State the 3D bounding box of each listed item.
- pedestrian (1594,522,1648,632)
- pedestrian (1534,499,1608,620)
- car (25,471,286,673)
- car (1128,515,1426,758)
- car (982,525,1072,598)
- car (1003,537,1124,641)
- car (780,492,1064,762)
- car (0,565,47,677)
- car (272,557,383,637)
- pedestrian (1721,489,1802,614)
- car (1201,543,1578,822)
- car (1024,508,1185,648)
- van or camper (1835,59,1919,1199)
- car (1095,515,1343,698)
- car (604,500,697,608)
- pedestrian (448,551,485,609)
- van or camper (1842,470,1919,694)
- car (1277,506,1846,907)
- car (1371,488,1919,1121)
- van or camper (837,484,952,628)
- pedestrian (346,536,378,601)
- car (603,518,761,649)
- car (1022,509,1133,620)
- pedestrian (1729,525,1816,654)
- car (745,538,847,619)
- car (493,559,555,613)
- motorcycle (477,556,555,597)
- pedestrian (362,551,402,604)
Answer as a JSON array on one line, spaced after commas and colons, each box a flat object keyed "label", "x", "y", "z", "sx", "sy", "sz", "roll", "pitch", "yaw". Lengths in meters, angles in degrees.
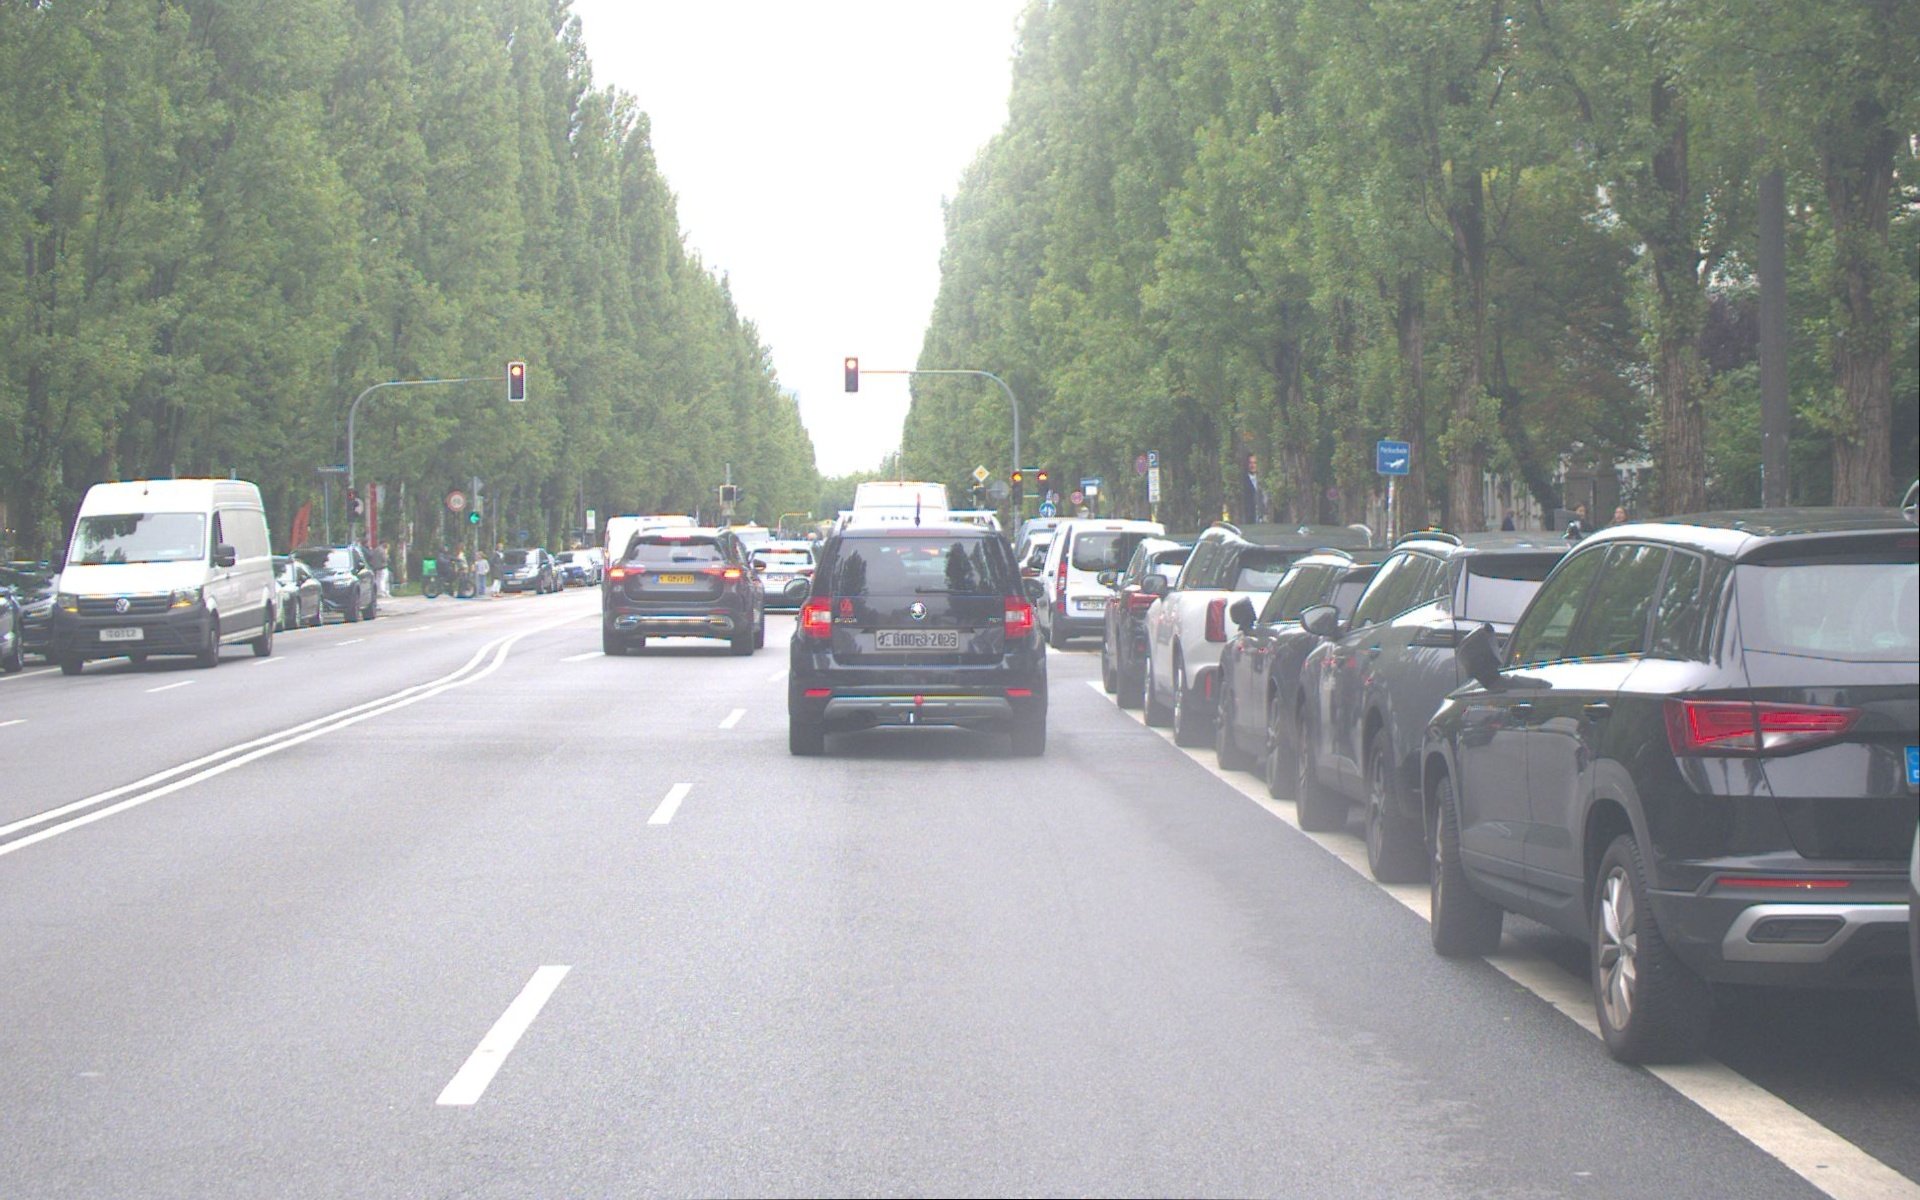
[{"label": "pedestrian", "x": 9.590, "y": -0.340, "z": 49.905, "sx": 0.567, "sy": 1.573, "sz": 0.867, "roll": -1, "pitch": 1, "yaw": -1}, {"label": "pedestrian", "x": 8.840, "y": -0.586, "z": 49.755, "sx": 0.853, "sy": 1.711, "sz": 0.867, "roll": -2, "pitch": 1, "yaw": -1}, {"label": "car", "x": -10.947, "y": -0.411, "z": 47.320, "sx": 2.227, "sy": 2.475, "sz": 6.759, "roll": -3, "pitch": 1, "yaw": -3}, {"label": "car", "x": 2.324, "y": 0.208, "z": 26.288, "sx": 1.742, "sy": 1.670, "sz": 4.580, "roll": -1, "pitch": 1, "yaw": -1}, {"label": "car", "x": 1.395, "y": -0.830, "z": 72.401, "sx": 1.735, "sy": 1.470, "sz": 3.563, "roll": -1, "pitch": 1, "yaw": -1}, {"label": "car", "x": 1.643, "y": -0.205, "z": 55.759, "sx": 1.741, "sy": 1.587, "sz": 4.212, "roll": -1, "pitch": 1, "yaw": -1}, {"label": "car", "x": -0.287, "y": 0.150, "z": 24.924, "sx": 1.855, "sy": 1.764, "sz": 4.000, "roll": 1, "pitch": 1, "yaw": -1}, {"label": "car", "x": -13.350, "y": 0.317, "z": 45.371, "sx": 1.709, "sy": 1.446, "sz": 3.586, "roll": -4, "pitch": 1, "yaw": -2}, {"label": "car", "x": -14.248, "y": -0.102, "z": 77.671, "sx": 1.849, "sy": 1.648, "sz": 4.696, "roll": -3, "pitch": 1, "yaw": -3}, {"label": "pedestrian", "x": 11.584, "y": -0.706, "z": 49.717, "sx": 0.799, "sy": 1.775, "sz": 0.821, "roll": -1, "pitch": 1, "yaw": -18}, {"label": "car", "x": 2.555, "y": 0.426, "z": 21.361, "sx": 1.702, "sy": 1.514, "sz": 4.295, "roll": -1, "pitch": 1, "yaw": -1}, {"label": "car", "x": 1.991, "y": -0.338, "z": 48.550, "sx": 1.851, "sy": 1.875, "sz": 4.169, "roll": -1, "pitch": 1, "yaw": -3}, {"label": "van or camper", "x": 3.205, "y": 0.124, "z": 4.928, "sx": 2.138, "sy": 2.531, "sz": 6.418, "roll": -1, "pitch": 1, "yaw": -1}, {"label": "car", "x": 2.304, "y": 0.010, "z": 31.642, "sx": 1.880, "sy": 1.535, "sz": 4.464, "roll": -1, "pitch": 1, "yaw": -1}, {"label": "car", "x": -6.238, "y": -0.944, "z": 69.576, "sx": 1.781, "sy": 2.104, "sz": 4.025, "roll": -1, "pitch": 1, "yaw": -4}, {"label": "pedestrian", "x": -15.263, "y": -0.630, "z": 106.241, "sx": 0.963, "sy": 1.761, "sz": 0.682, "roll": -1, "pitch": 1, "yaw": -23}, {"label": "van or camper", "x": 9.310, "y": -0.148, "z": 29.406, "sx": 2.076, "sy": 1.927, "sz": 5.369, "roll": 0, "pitch": 1, "yaw": -1}, {"label": "car", "x": 2.670, "y": 0.387, "z": 16.333, "sx": 1.784, "sy": 1.612, "sz": 4.638, "roll": -1, "pitch": 1, "yaw": -1}, {"label": "car", "x": 2.624, "y": 0.482, "z": 11.218, "sx": 1.784, "sy": 1.643, "sz": 4.418, "roll": -1, "pitch": 1, "yaw": -3}, {"label": "van or camper", "x": -1.238, "y": -0.826, "z": 63.366, "sx": 1.975, "sy": 2.540, "sz": 4.025, "roll": -1, "pitch": 1, "yaw": -3}, {"label": "pedestrian", "x": -14.622, "y": -0.762, "z": 84.016, "sx": 0.660, "sy": 1.572, "sz": 0.530, "roll": -1, "pitch": 1, "yaw": 0}, {"label": "car", "x": -3.595, "y": -0.250, "z": 45.040, "sx": 1.781, "sy": 1.614, "sz": 4.025, "roll": -1, "pitch": 1, "yaw": -1}, {"label": "car", "x": 2.049, "y": -0.654, "z": 61.034, "sx": 1.735, "sy": 1.889, "sz": 4.025, "roll": -1, "pitch": 1, "yaw": -1}, {"label": "pedestrian", "x": 11.702, "y": -0.159, "z": 49.542, "sx": 0.901, "sy": 1.794, "sz": 0.830, "roll": -2, "pitch": 3, "yaw": -22}, {"label": "car", "x": -3.333, "y": -0.459, "z": 70.282, "sx": 1.993, "sy": 1.555, "sz": 4.001, "roll": -1, "pitch": 1, "yaw": -2}, {"label": "car", "x": -14.962, "y": -0.480, "z": 118.163, "sx": 1.688, "sy": 1.777, "sz": 3.775, "roll": -1, "pitch": 1, "yaw": -1}, {"label": "motorcycle", "x": -14.170, "y": -0.750, "z": 109.683, "sx": 2.363, "sy": 1.265, "sz": 0.930, "roll": 0, "pitch": 1, "yaw": 0}, {"label": "pedestrian", "x": -18.224, "y": -0.714, "z": 108.363, "sx": 0.880, "sy": 1.649, "sz": 0.878, "roll": -2, "pitch": 1, "yaw": -38}]
